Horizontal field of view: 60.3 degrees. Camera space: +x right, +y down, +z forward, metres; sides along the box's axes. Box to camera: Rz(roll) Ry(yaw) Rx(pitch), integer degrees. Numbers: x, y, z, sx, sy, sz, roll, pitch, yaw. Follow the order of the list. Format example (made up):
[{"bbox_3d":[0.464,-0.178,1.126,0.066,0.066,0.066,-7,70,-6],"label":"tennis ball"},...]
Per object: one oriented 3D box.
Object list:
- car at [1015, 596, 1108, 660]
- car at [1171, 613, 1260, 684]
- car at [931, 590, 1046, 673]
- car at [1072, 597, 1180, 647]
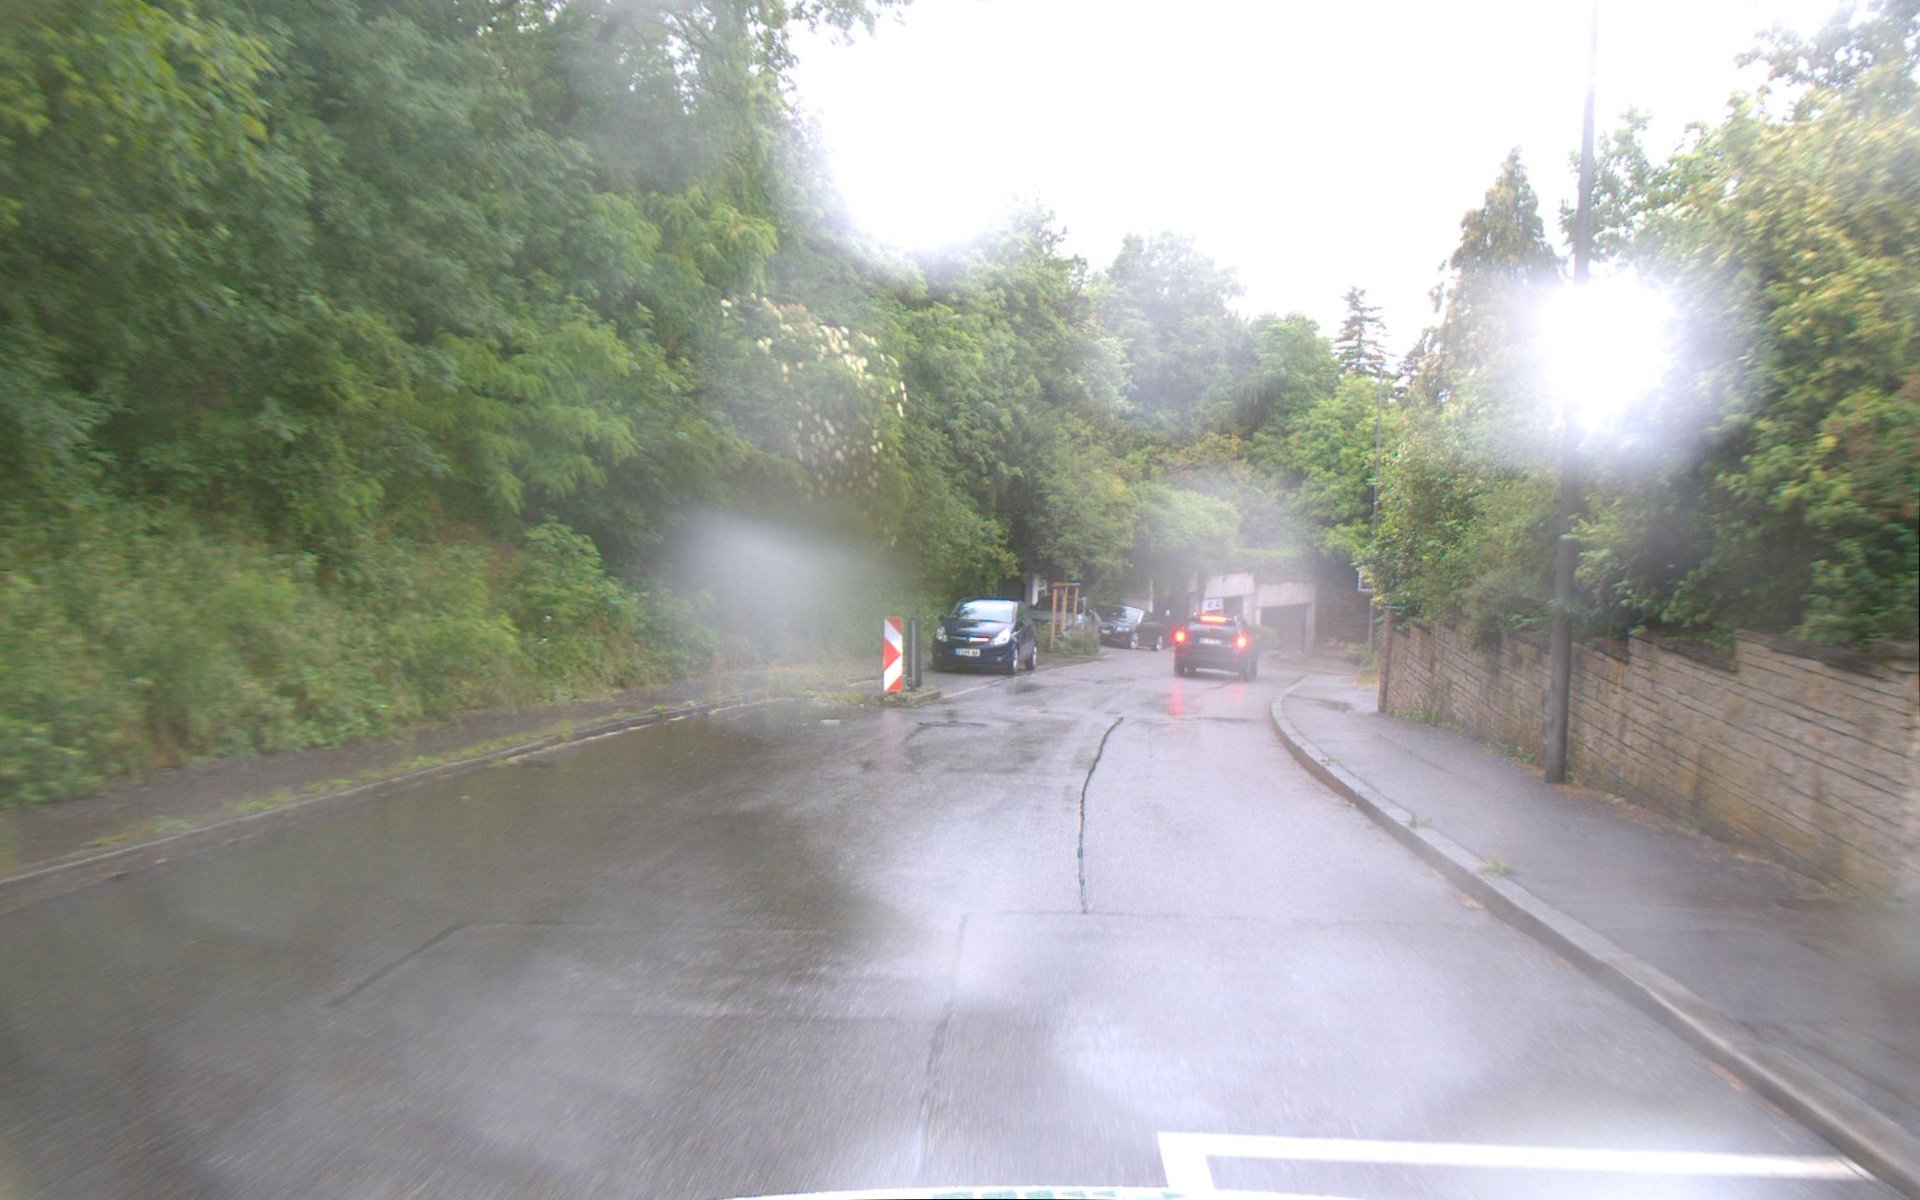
[{"bbox_3d":[2.984,0.804,47.736,1.951,1.669,4.003,3,0,14],"label":"car"},{"bbox_3d":[6.141,1.117,39.394,1.828,1.539,4.096,1,0,12],"label":"car"},{"bbox_3d":[0.641,0.605,33.654,1.663,1.497,4.003,3,1,10],"label":"car"},{"bbox_3d":[5.769,0.776,57.071,1.957,1.534,4.561,3,0,30],"label":"car"}]
